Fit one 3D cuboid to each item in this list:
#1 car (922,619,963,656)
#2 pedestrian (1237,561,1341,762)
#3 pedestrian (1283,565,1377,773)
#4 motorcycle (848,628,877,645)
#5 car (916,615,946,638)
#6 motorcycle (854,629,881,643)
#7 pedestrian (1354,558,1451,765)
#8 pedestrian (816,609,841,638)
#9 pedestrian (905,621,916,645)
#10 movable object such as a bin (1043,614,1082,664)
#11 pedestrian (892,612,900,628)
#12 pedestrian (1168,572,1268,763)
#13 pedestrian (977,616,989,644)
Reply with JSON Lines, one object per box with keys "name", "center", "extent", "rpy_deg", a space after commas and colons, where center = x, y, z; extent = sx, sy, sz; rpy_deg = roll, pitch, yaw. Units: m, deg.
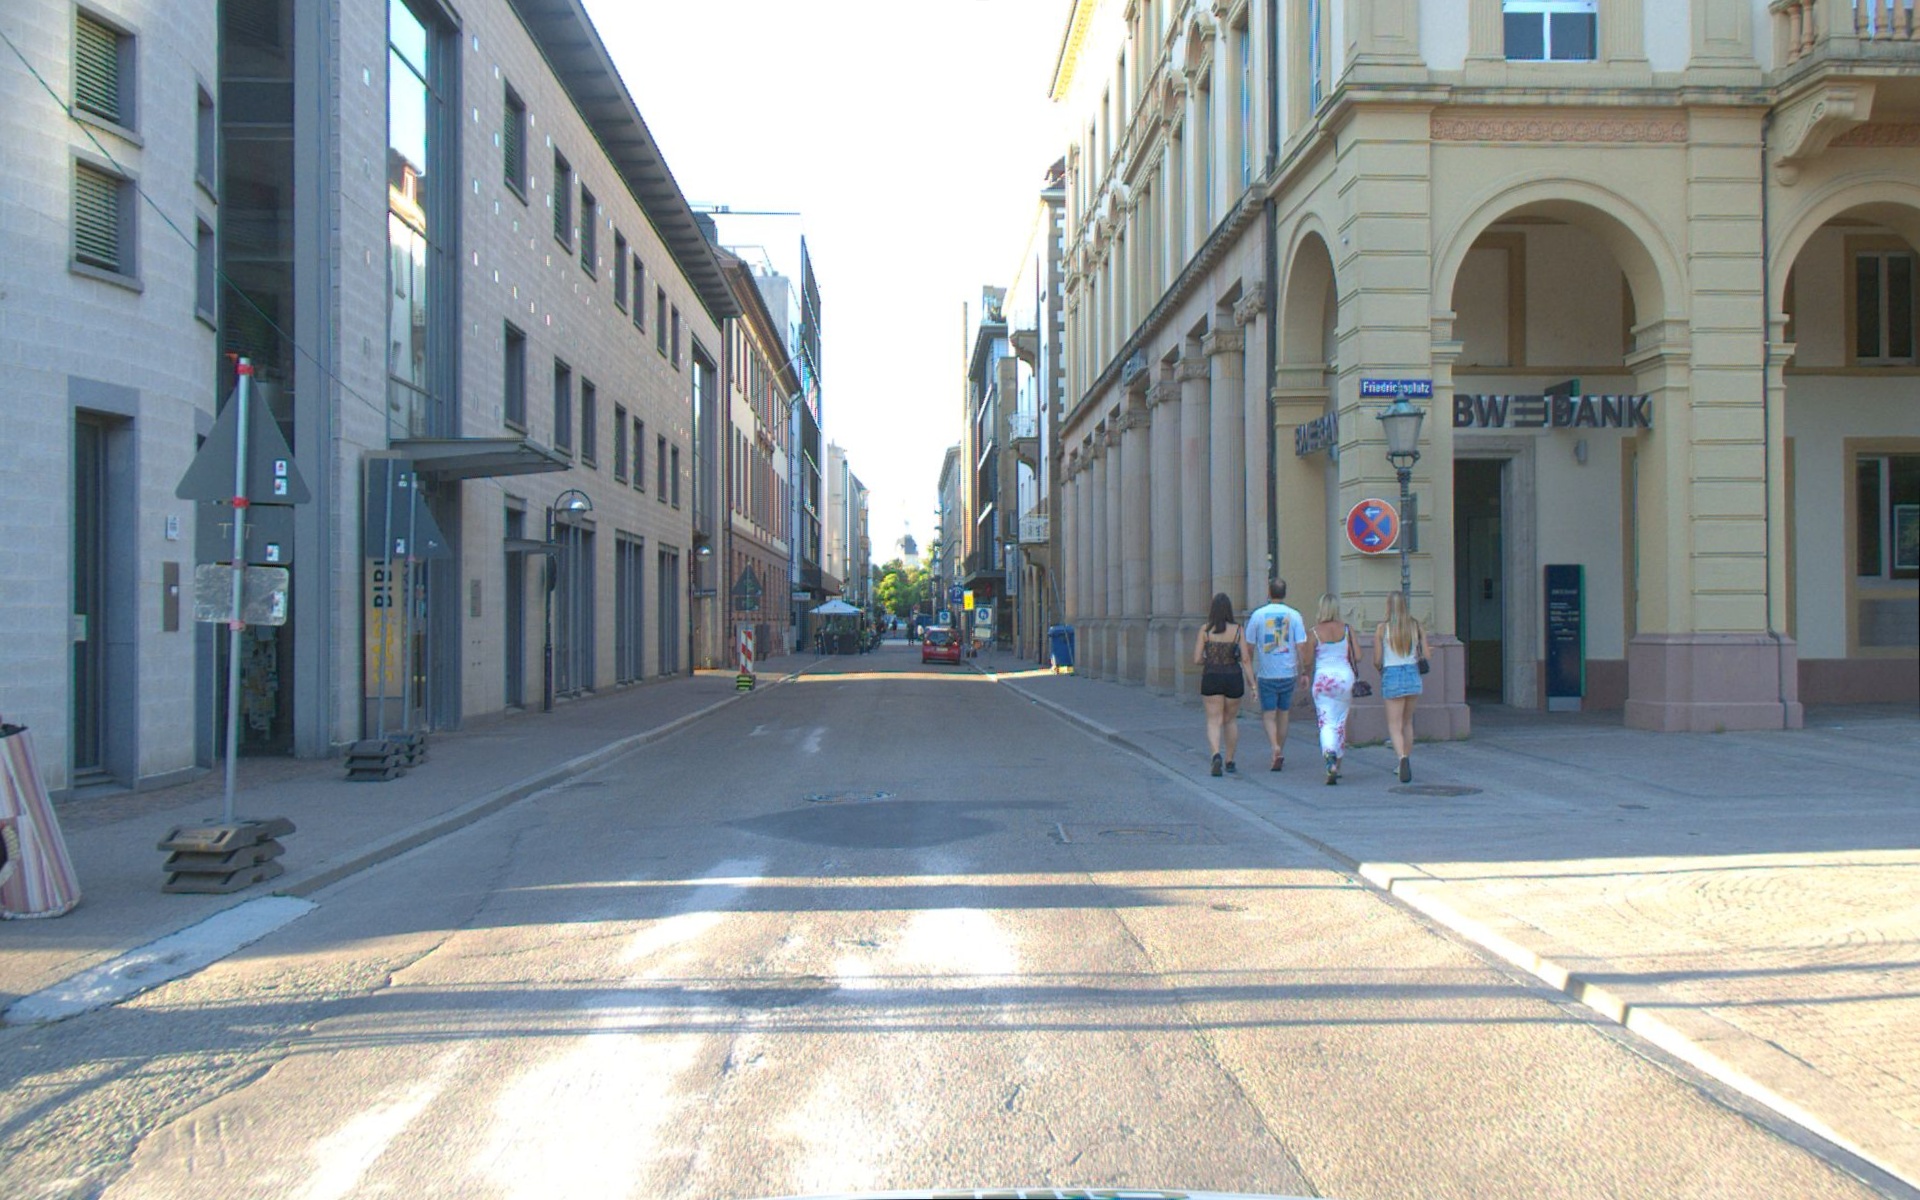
{"name": "car", "center": [-0.741, 1.544, 69.239], "extent": [1.616, 1.452, 3.534], "rpy_deg": [2, -1, -1]}
{"name": "pedestrian", "center": [3.236, 0.594, 16.331], "extent": [0.795, 1.908, 0.874], "rpy_deg": [-1, -1, -3]}
{"name": "pedestrian", "center": [3.363, 0.618, 15.075], "extent": [0.623, 1.835, 0.771], "rpy_deg": [-1, -1, -3]}
{"name": "motorcycle", "center": [-5.958, 2.225, 100.802], "extent": [1.766, 1.059, 0.493], "rpy_deg": [0, -1, -6]}
{"name": "car", "center": [-2.078, 1.903, 118.491], "extent": [1.954, 1.639, 3.997], "rpy_deg": [0, -1, -3]}
{"name": "motorcycle", "center": [-6.110, 2.362, 108.935], "extent": [1.766, 0.891, 0.560], "rpy_deg": [0, -1, -6]}
{"name": "pedestrian", "center": [4.032, 0.548, 15.113], "extent": [0.623, 1.835, 0.771], "rpy_deg": [-1, -1, -3]}
{"name": "pedestrian", "center": [-6.725, 1.197, 84.833], "extent": [1.265, 1.514, 0.661], "rpy_deg": [0, -1, -4]}
{"name": "pedestrian", "center": [-3.698, 2.458, 124.039], "extent": [0.848, 1.743, 0.852], "rpy_deg": [0, -1, -2]}
{"name": "movable object such as a bin", "center": [3.000, 1.139, 48.507], "extent": [0.970, 1.416, 1.240], "rpy_deg": [-1, -1, -3]}
{"name": "pedestrian", "center": [-6.835, 2.116, 175.495], "extent": [0.788, 1.702, 0.888], "rpy_deg": [0, -1, 0]}
{"name": "pedestrian", "center": [2.472, 0.634, 15.909], "extent": [0.760, 1.777, 0.874], "rpy_deg": [-1, -1, -3]}
{"name": "pedestrian", "center": [1.236, 1.631, 89.315], "extent": [0.643, 1.514, 0.493], "rpy_deg": [-1, -1, 0]}
